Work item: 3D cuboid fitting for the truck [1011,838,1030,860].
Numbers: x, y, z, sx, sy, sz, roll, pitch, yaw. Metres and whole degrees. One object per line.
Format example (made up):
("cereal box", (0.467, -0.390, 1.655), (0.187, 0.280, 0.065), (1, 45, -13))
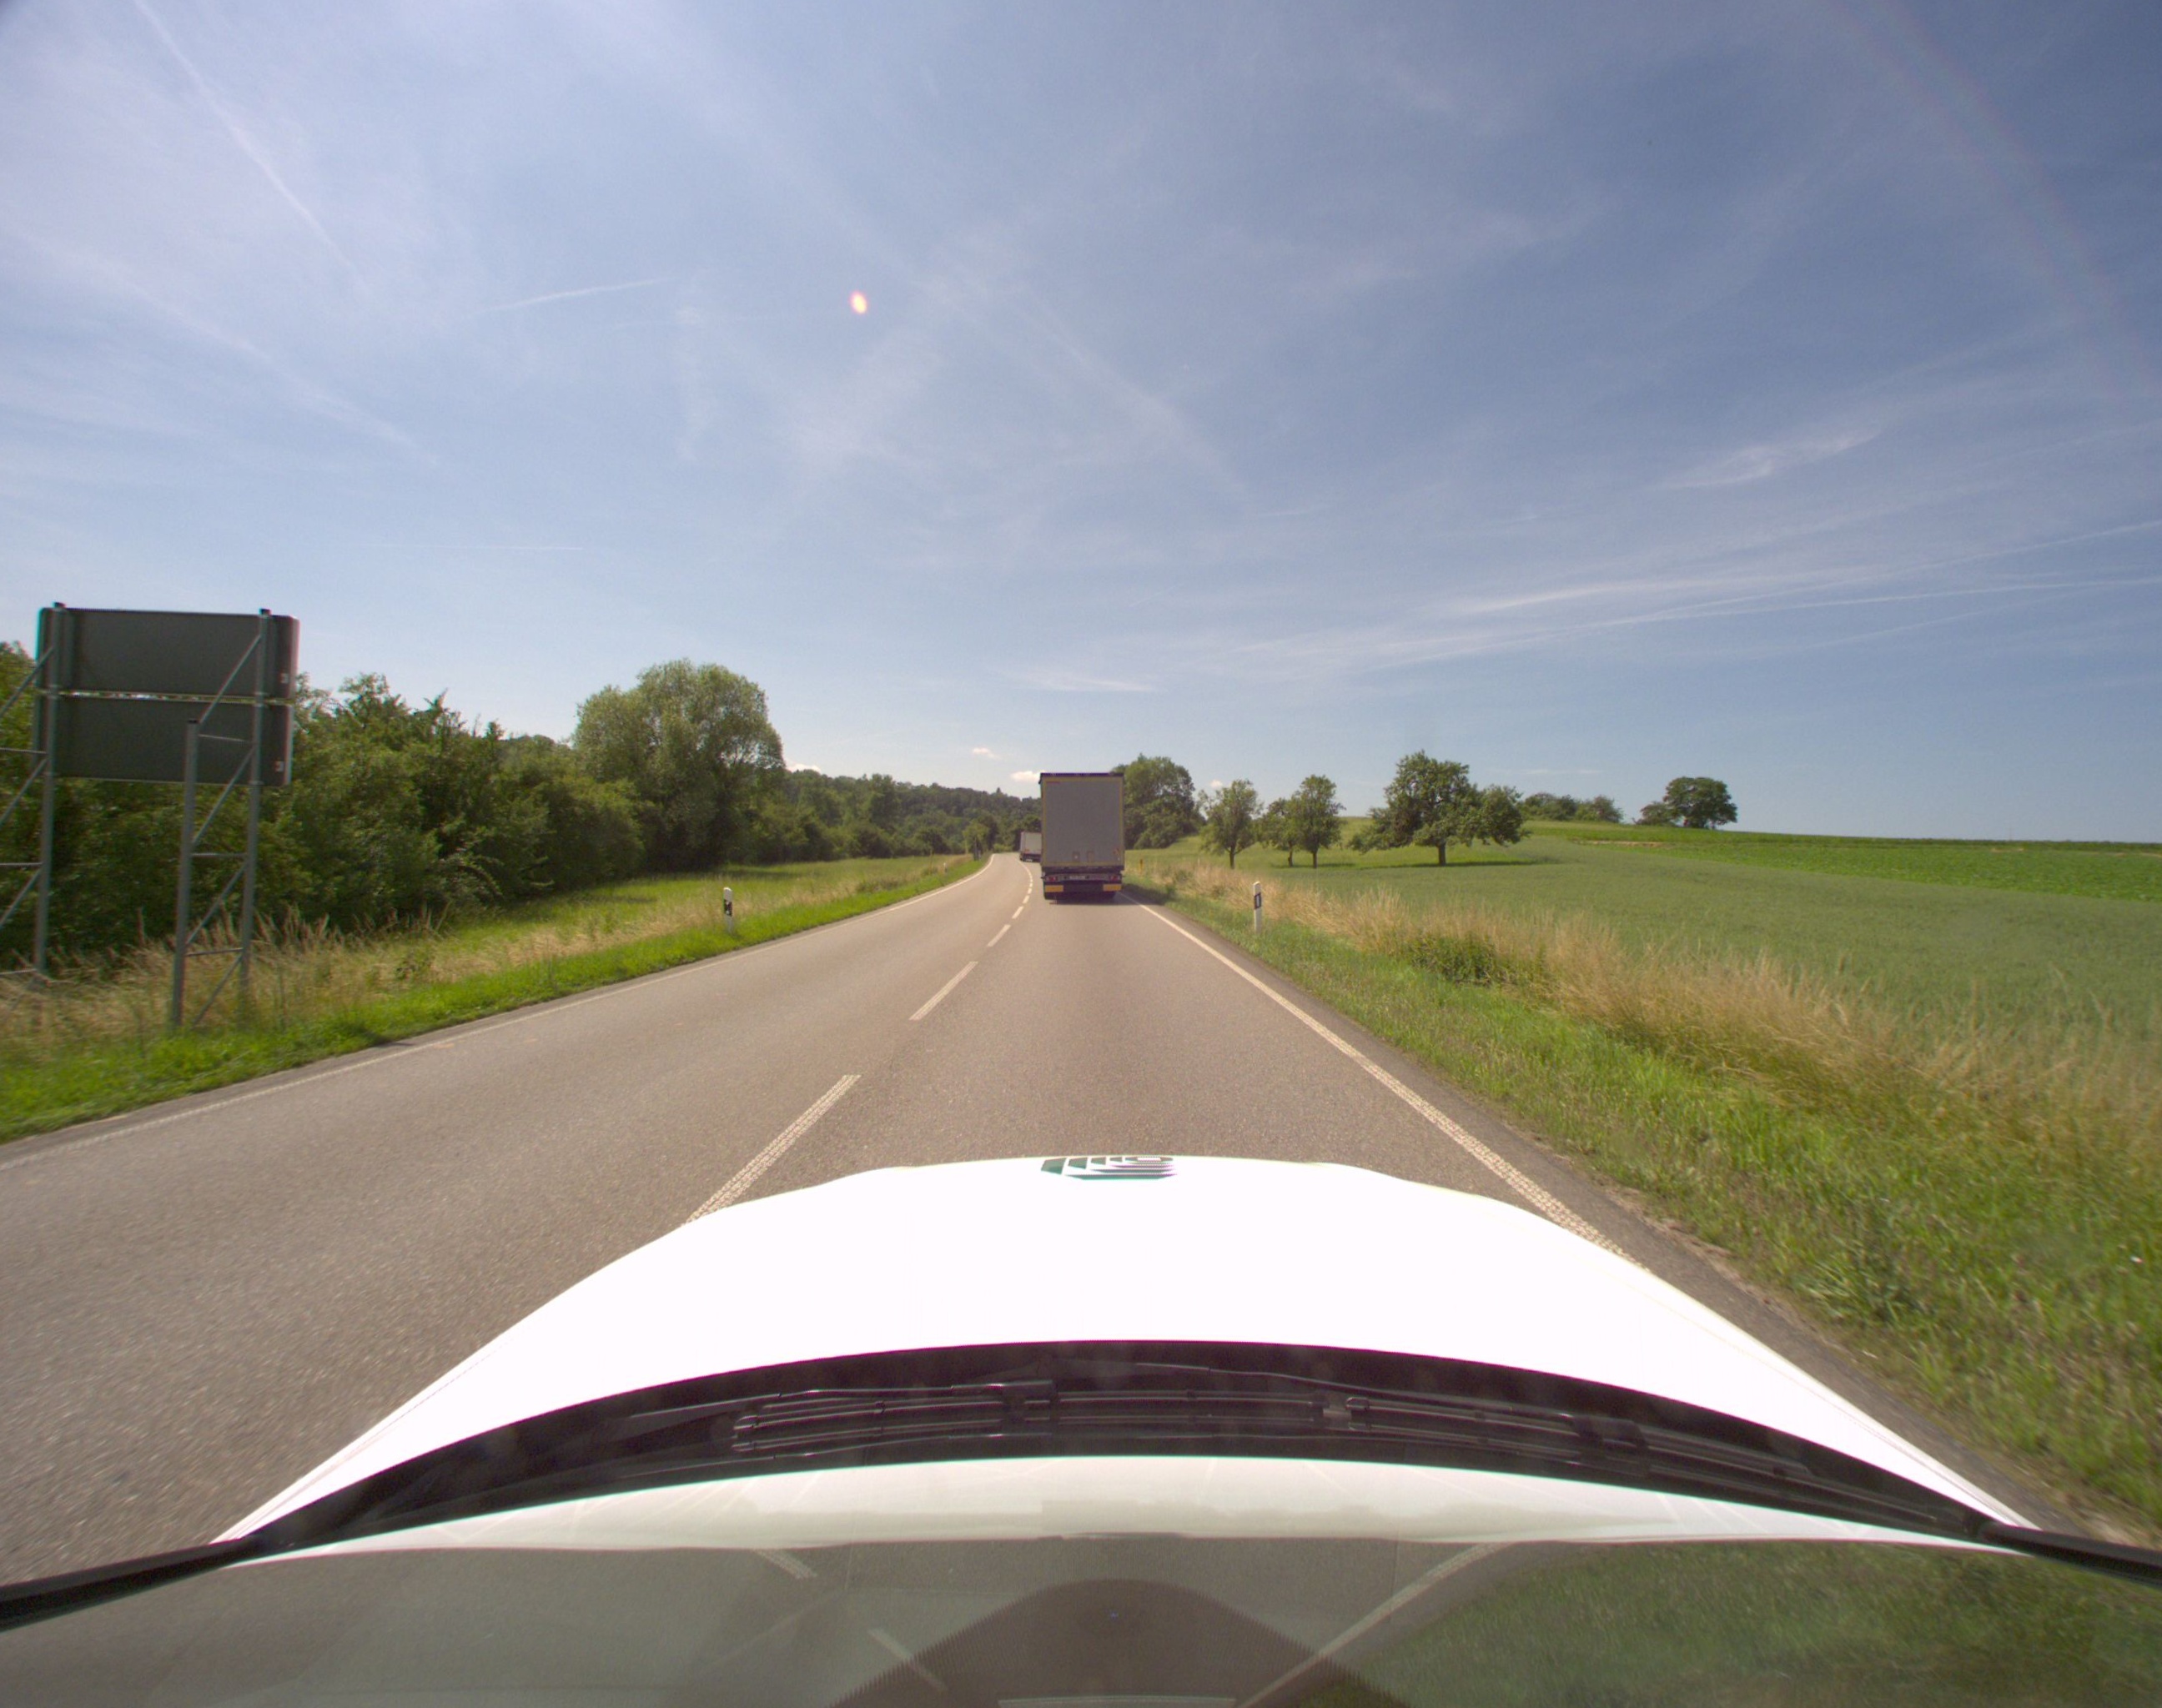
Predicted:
("truck", (-12.903, -0.901, 174.378), (3.630, 4.130, 13.075), (2, -2, -4))

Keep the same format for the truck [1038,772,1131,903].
("truck", (-0.138, -0.528, 29.499), (2.802, 3.946, 9.579), (0, 0, -3))

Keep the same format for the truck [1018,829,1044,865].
("truck", (-7.119, -0.862, 114.632), (2.957, 4.584, 16.283), (2, 0, -6))
